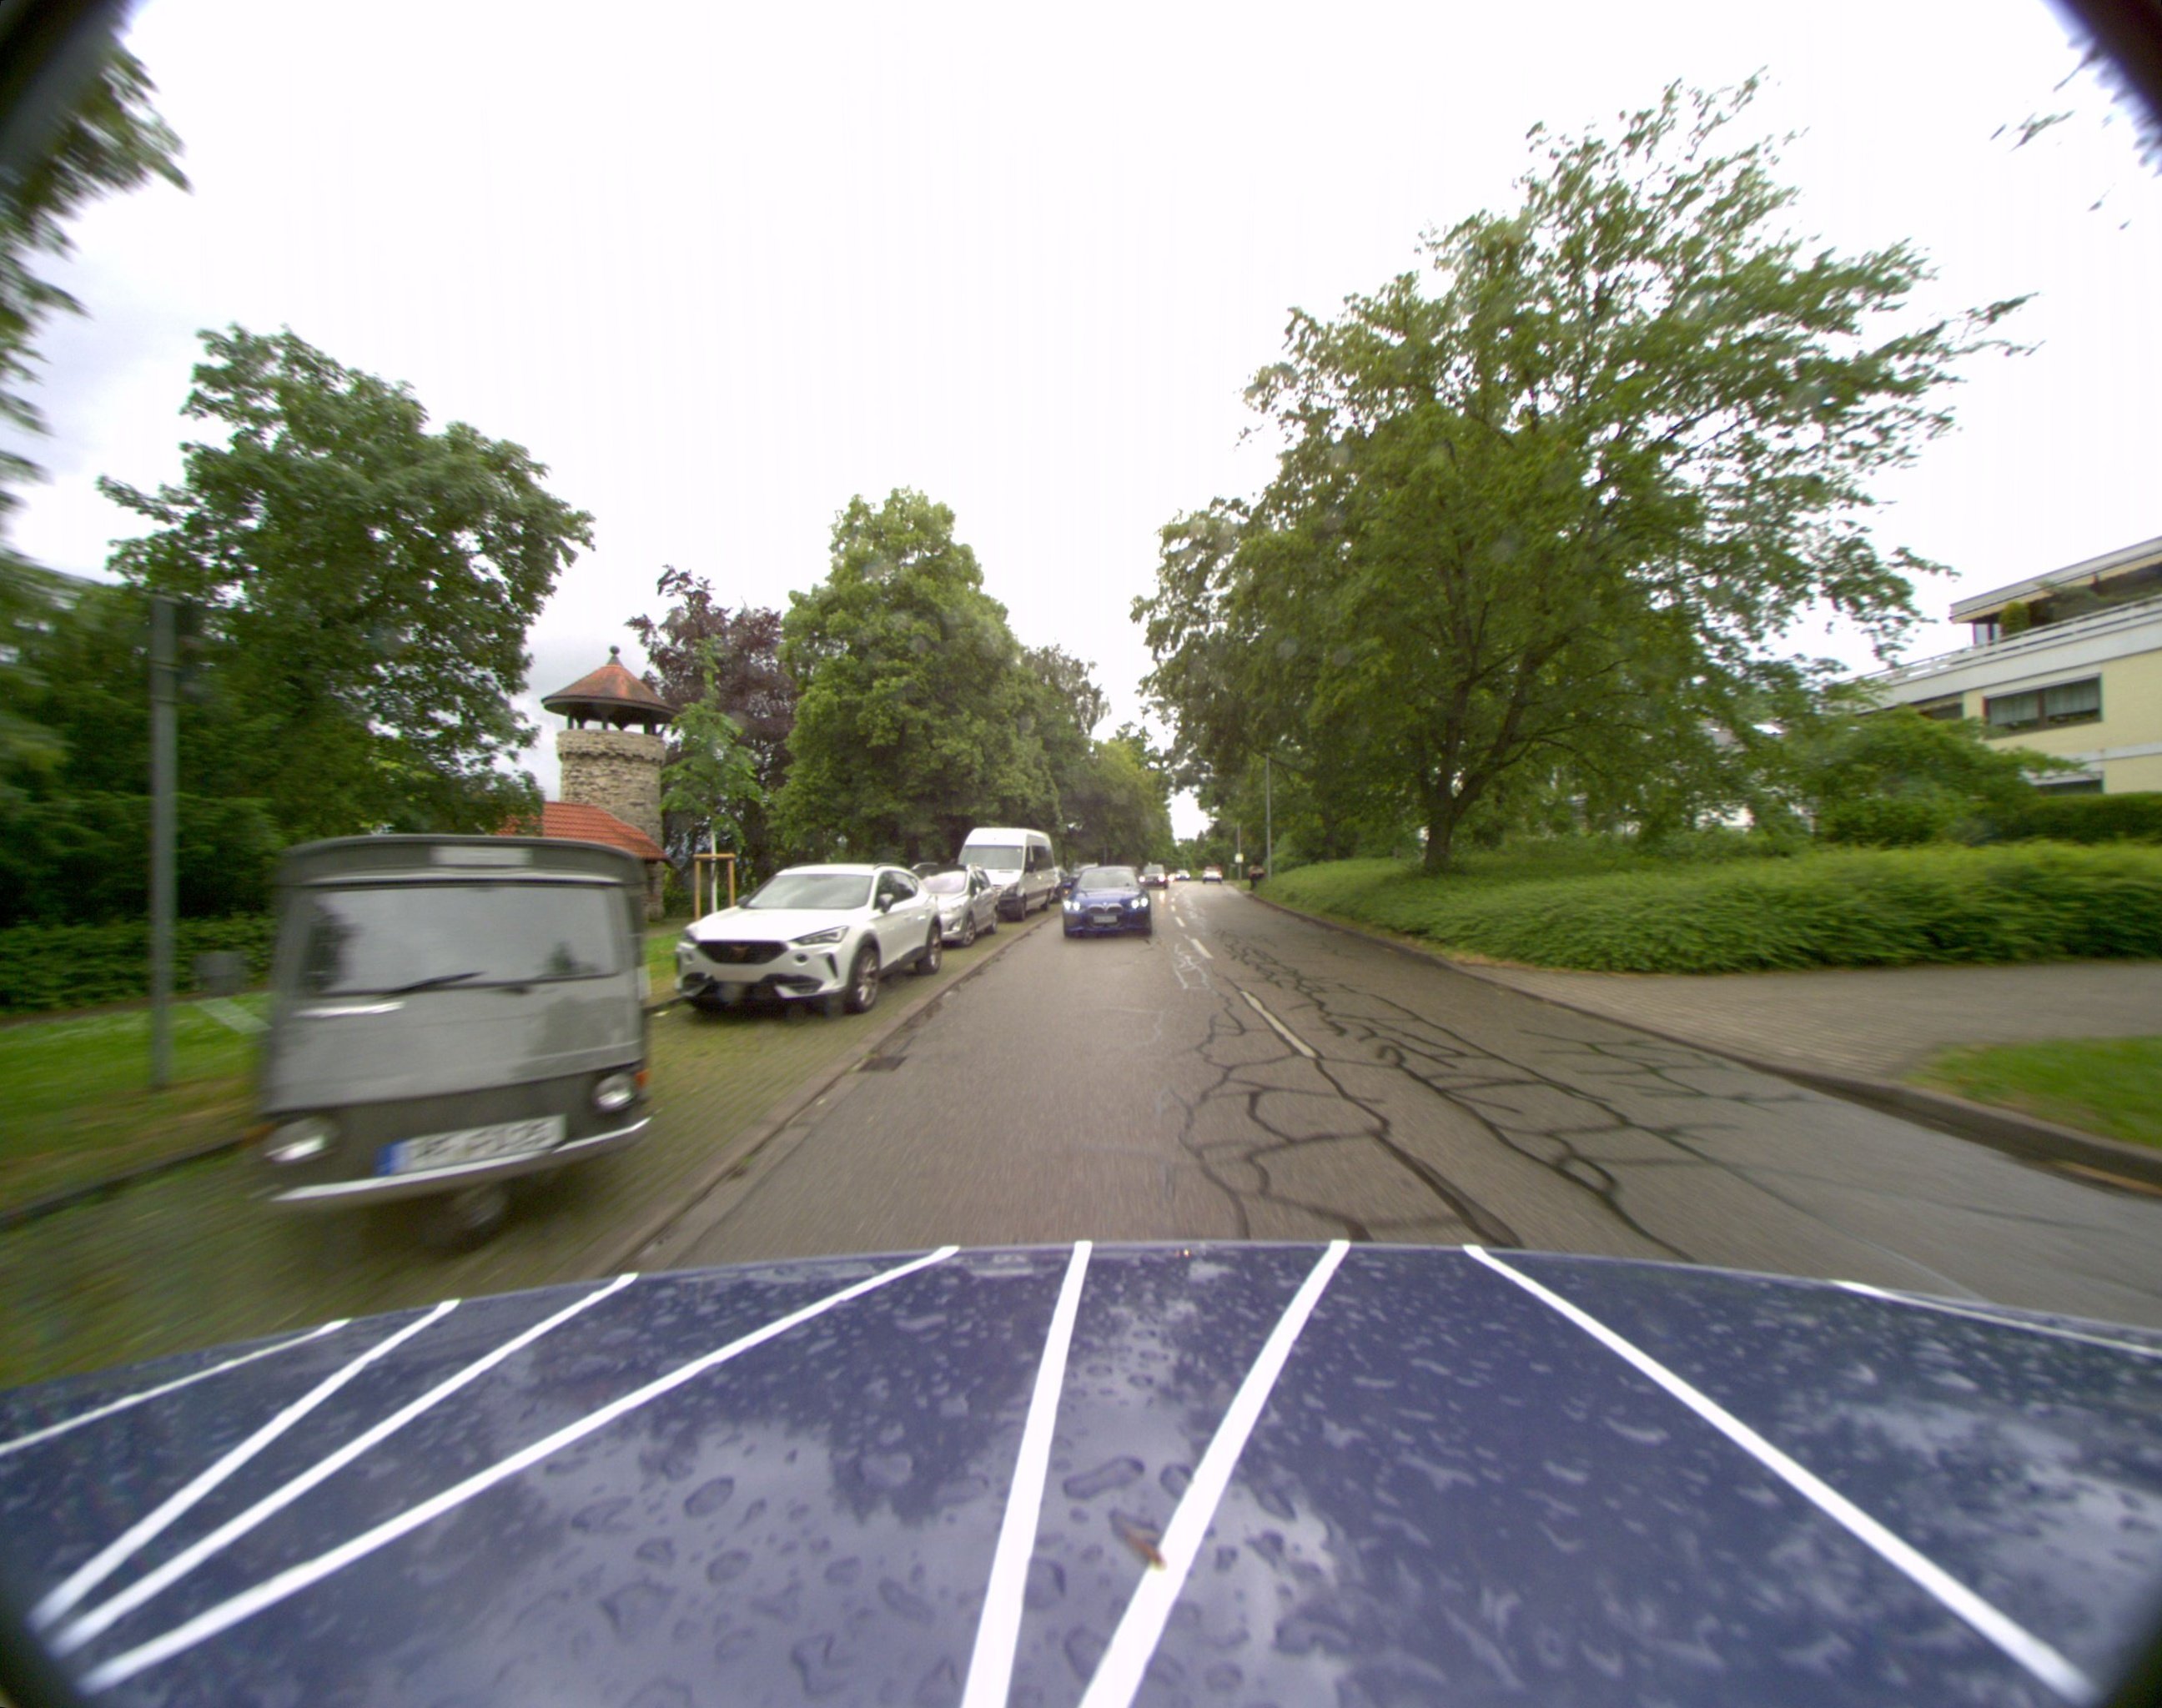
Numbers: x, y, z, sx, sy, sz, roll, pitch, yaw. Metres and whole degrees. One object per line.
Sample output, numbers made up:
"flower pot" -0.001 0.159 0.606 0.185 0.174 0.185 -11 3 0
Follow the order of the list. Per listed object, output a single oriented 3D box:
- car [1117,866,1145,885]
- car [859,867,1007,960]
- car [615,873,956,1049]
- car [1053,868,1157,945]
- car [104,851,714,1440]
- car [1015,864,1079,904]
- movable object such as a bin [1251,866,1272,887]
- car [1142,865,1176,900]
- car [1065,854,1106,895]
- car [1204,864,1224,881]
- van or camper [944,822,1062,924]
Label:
"car" 3.968 1.675 60.236 1.703 1.453 4.221 0 -1 11
"car" -2.746 1.056 15.159 1.809 1.530 4.269 1 0 5
"car" -3.032 1.009 9.070 1.998 1.488 4.568 0 -1 5
"car" 0.671 1.115 17.063 1.838 1.501 4.004 -1 -2 9
"car" -3.426 0.846 4.266 1.615 1.671 3.995 0 1 -39
"car" -1.284 1.153 30.486 1.868 1.502 3.728 0 -1 8
"movable object such as a bin" 10.059 1.247 42.353 1.039 1.098 0.967 -3 -1 12
"car" 4.864 1.765 46.864 1.997 2.001 4.004 -1 -2 7
"car" 0.301 1.187 41.294 1.785 1.707 4.268 -4 -7 4
"car" 12.267 1.657 70.044 1.668 1.468 3.735 1 0 10
"van or camper" -2.065 0.572 23.293 2.020 2.567 8.441 0 -1 5
